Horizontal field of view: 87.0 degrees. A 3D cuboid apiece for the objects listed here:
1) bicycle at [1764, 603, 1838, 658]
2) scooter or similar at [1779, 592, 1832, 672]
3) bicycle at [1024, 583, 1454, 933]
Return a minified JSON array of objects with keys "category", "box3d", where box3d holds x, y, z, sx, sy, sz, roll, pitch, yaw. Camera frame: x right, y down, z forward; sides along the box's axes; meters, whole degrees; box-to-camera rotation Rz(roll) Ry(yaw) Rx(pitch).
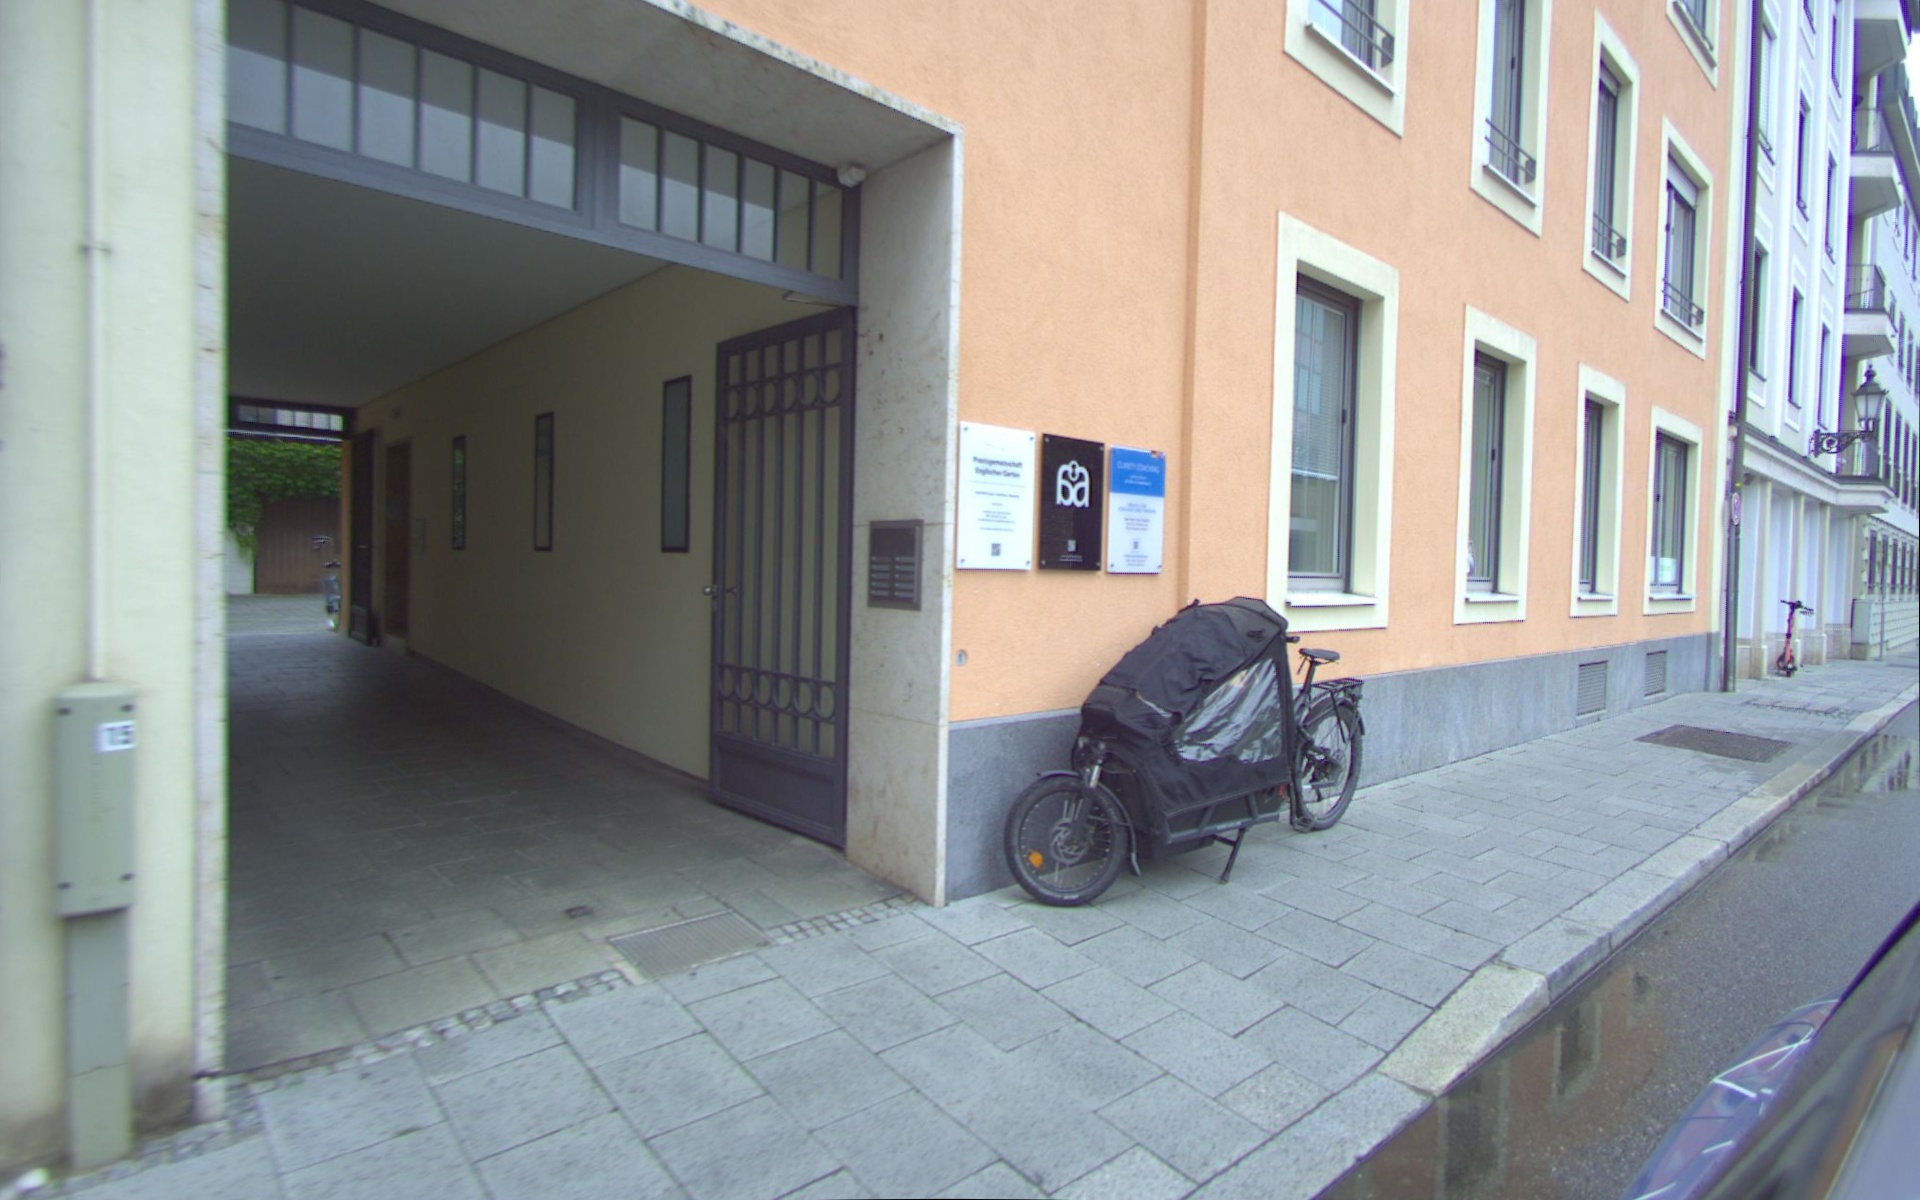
[{"category":"bicycle","box3d":[16.477,0.615,19.820,2.037,1.006,0.466,2,1,-32]},{"category":"scooter or similar","box3d":[14.489,0.522,17.367,0.463,1.274,1.261,5,4,34]},{"category":"bicycle","box3d":[1.422,0.601,4.802,2.340,1.254,0.681,1,6,-41]}]
